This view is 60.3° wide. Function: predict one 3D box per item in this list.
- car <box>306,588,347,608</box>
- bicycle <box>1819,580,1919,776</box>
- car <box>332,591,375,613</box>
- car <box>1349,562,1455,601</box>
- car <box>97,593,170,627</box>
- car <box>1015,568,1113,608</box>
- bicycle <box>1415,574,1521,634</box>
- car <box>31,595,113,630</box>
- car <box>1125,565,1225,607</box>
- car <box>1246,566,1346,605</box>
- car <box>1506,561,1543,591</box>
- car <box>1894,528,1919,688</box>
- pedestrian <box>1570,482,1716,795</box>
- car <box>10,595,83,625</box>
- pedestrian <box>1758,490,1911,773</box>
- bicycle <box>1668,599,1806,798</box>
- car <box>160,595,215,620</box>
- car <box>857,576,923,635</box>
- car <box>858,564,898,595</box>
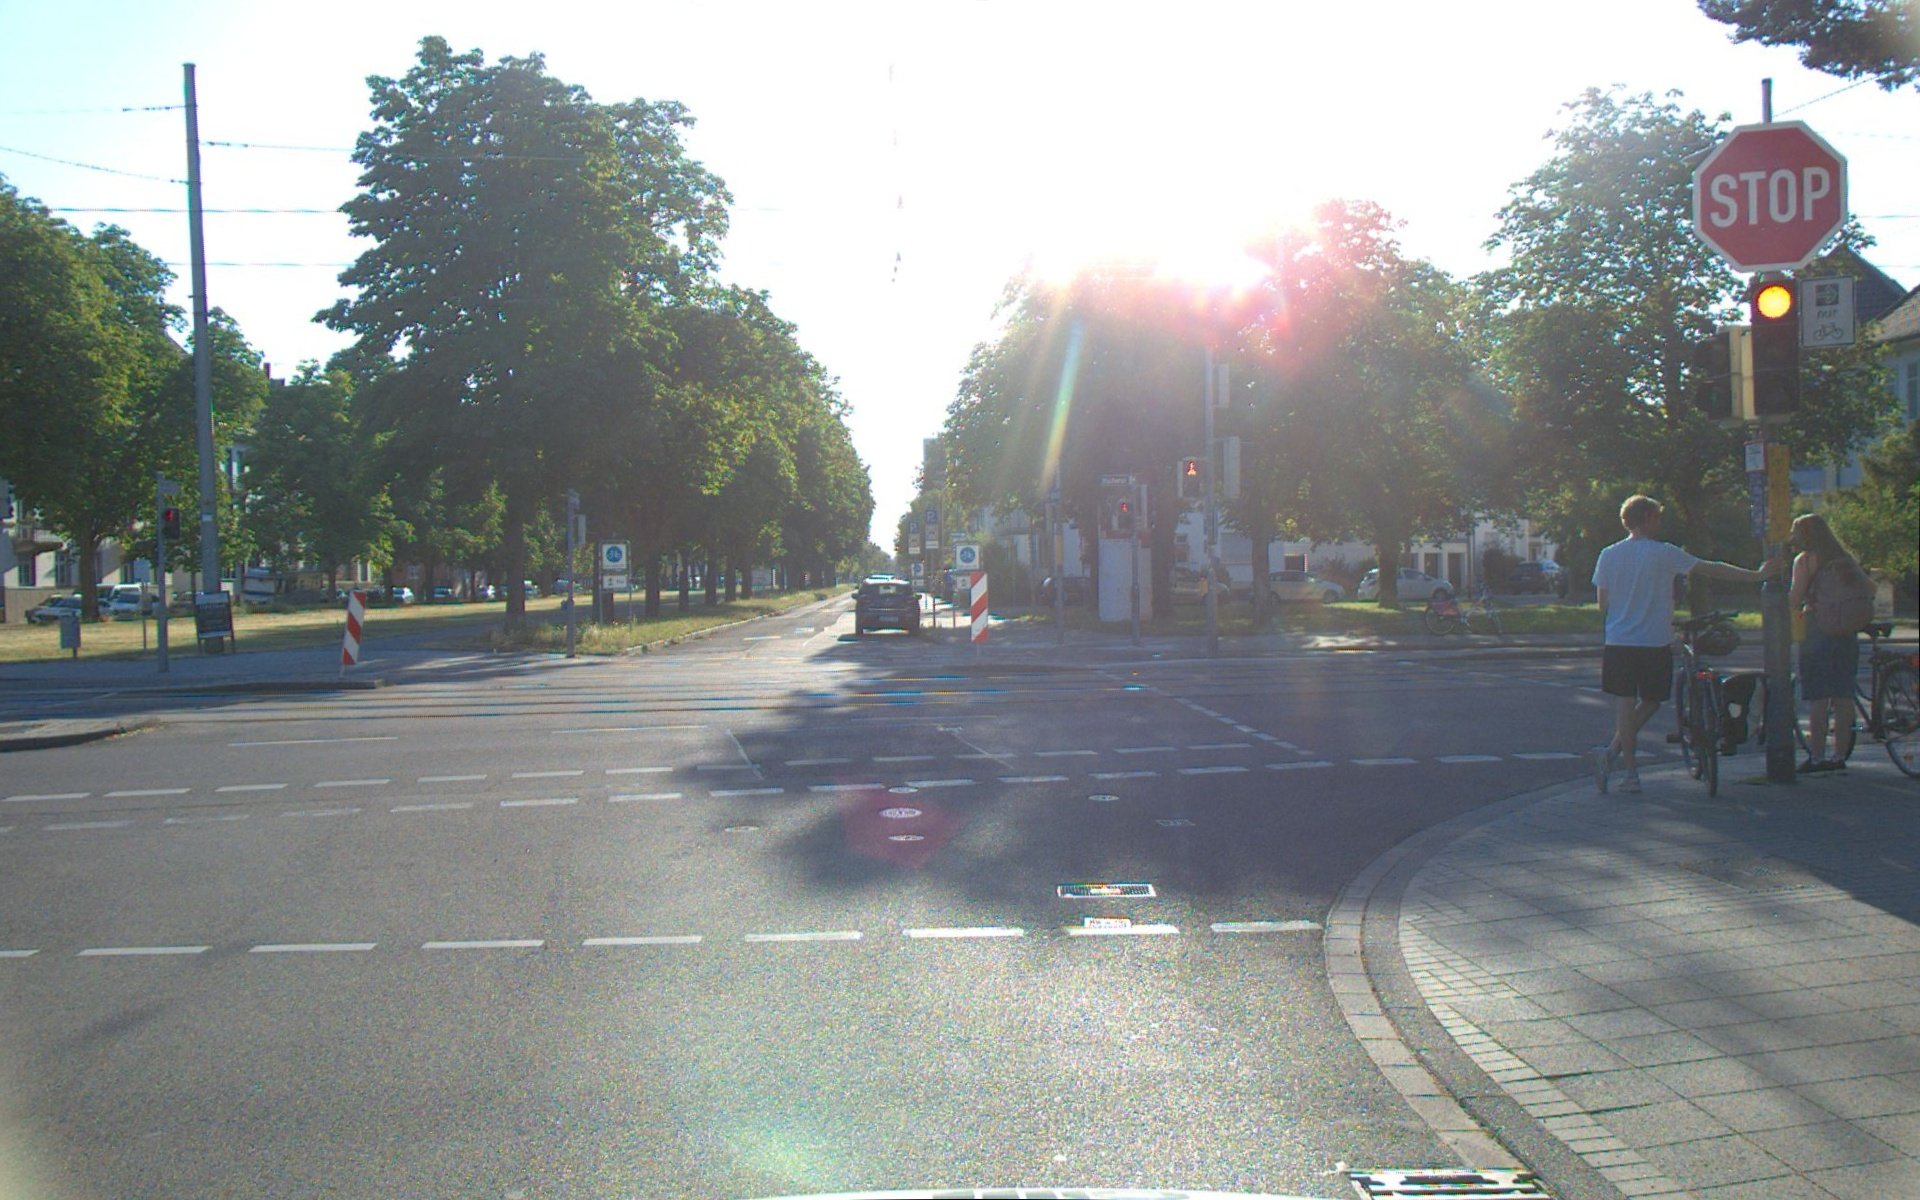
[{"bbox_3d":[-48.080,-0.150,125.642,1.703,1.452,3.791,-1,1,-2],"label":"car"},{"bbox_3d":[5.966,0.464,10.614,0.476,1.163,1.599,-3,-1,17],"label":"bicycle"},{"bbox_3d":[-42.315,0.111,115.483,1.703,1.452,3.791,-1,1,-2],"label":"car"},{"bbox_3d":[17.691,-0.739,66.281,3.772,1.452,1.595,-1,1,-7],"label":"car"},{"bbox_3d":[-40.320,0.462,80.731,1.703,1.452,3.792,-1,2,-2],"label":"car"},{"bbox_3d":[4.067,-0.487,65.027,3.704,1.452,1.743,-1,2,-3],"label":"car"},{"bbox_3d":[10.118,0.081,32.981,1.914,1.152,0.620,-1,0,0],"label":"bicycle"},{"bbox_3d":[-40.054,0.529,74.686,1.703,1.452,3.791,-1,1,-2],"label":"car"},{"bbox_3d":[8.480,-0.580,65.422,3.704,1.552,1.743,-1,2,-3],"label":"car"},{"bbox_3d":[13.284,-0.583,65.440,3.593,1.452,1.529,-1,1,-7],"label":"car"},{"bbox_3d":[28.842,-1.238,84.484,1.629,1.442,3.543,-1,1,21],"label":"car"},{"bbox_3d":[12.449,0.029,17.389,4.468,1.692,1.874,-2,2,-12],"label":"car"},{"bbox_3d":[4.430,0.246,10.713,0.657,1.897,0.881,-6,-2,24],"label":"pedestrian"},{"bbox_3d":[-47.030,0.511,85.218,1.703,1.452,3.791,-1,1,-2],"label":"car"},{"bbox_3d":[5.633,0.203,10.687,0.655,1.738,0.623,-4,-2,17],"label":"pedestrian"},{"bbox_3d":[4.898,0.575,10.510,0.476,1.116,1.792,-3,0,17],"label":"bicycle"},{"bbox_3d":[-47.409,0.468,101.575,1.703,1.452,3.791,-1,1,-2],"label":"car"},{"bbox_3d":[-1.820,0.118,43.826,1.607,1.476,3.307,-1,1,0],"label":"car"},{"bbox_3d":[-3.832,-0.974,77.720,1.808,1.418,3.828,0,1,-2],"label":"car"}]
